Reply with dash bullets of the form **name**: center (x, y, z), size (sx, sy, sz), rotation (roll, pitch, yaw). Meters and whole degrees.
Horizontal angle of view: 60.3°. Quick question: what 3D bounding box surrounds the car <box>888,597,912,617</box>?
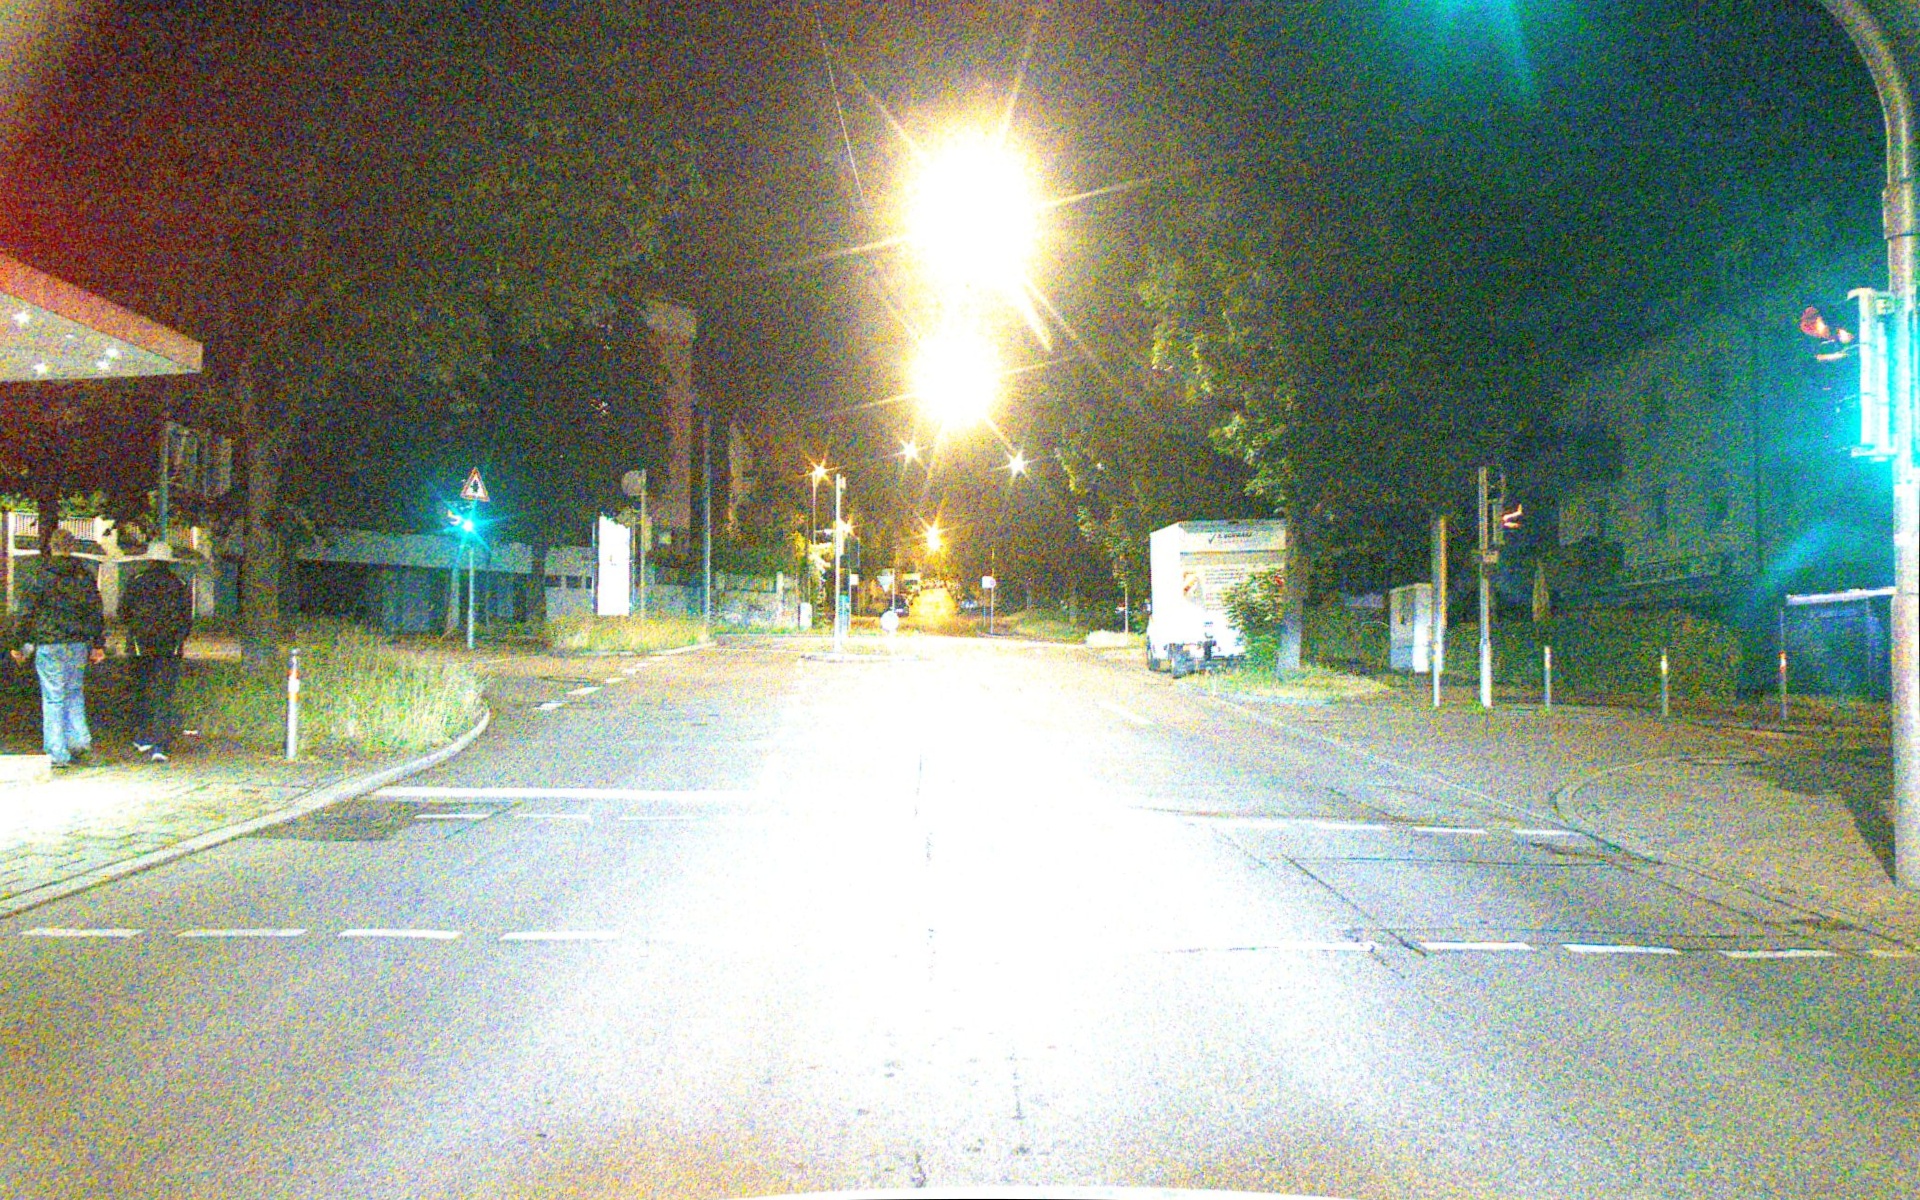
- **car**: center (-4.850, 0.546, 134.267), size (1.869, 1.585, 3.903), rotation (1, 0, -1)

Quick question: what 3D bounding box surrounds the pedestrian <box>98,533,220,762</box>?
- **pedestrian**: center (-6.577, 0.380, 13.608), size (0.558, 1.808, 0.737), rotation (3, -1, -1)

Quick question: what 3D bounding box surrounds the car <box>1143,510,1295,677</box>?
- **car**: center (5.251, -0.120, 34.351), size (2.249, 3.147, 5.840), rotation (-1, 0, 1)

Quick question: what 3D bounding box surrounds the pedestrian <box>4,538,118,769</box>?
- **pedestrian**: center (-7.017, 0.409, 12.927), size (0.558, 1.761, 0.543), rotation (1, -1, -1)
